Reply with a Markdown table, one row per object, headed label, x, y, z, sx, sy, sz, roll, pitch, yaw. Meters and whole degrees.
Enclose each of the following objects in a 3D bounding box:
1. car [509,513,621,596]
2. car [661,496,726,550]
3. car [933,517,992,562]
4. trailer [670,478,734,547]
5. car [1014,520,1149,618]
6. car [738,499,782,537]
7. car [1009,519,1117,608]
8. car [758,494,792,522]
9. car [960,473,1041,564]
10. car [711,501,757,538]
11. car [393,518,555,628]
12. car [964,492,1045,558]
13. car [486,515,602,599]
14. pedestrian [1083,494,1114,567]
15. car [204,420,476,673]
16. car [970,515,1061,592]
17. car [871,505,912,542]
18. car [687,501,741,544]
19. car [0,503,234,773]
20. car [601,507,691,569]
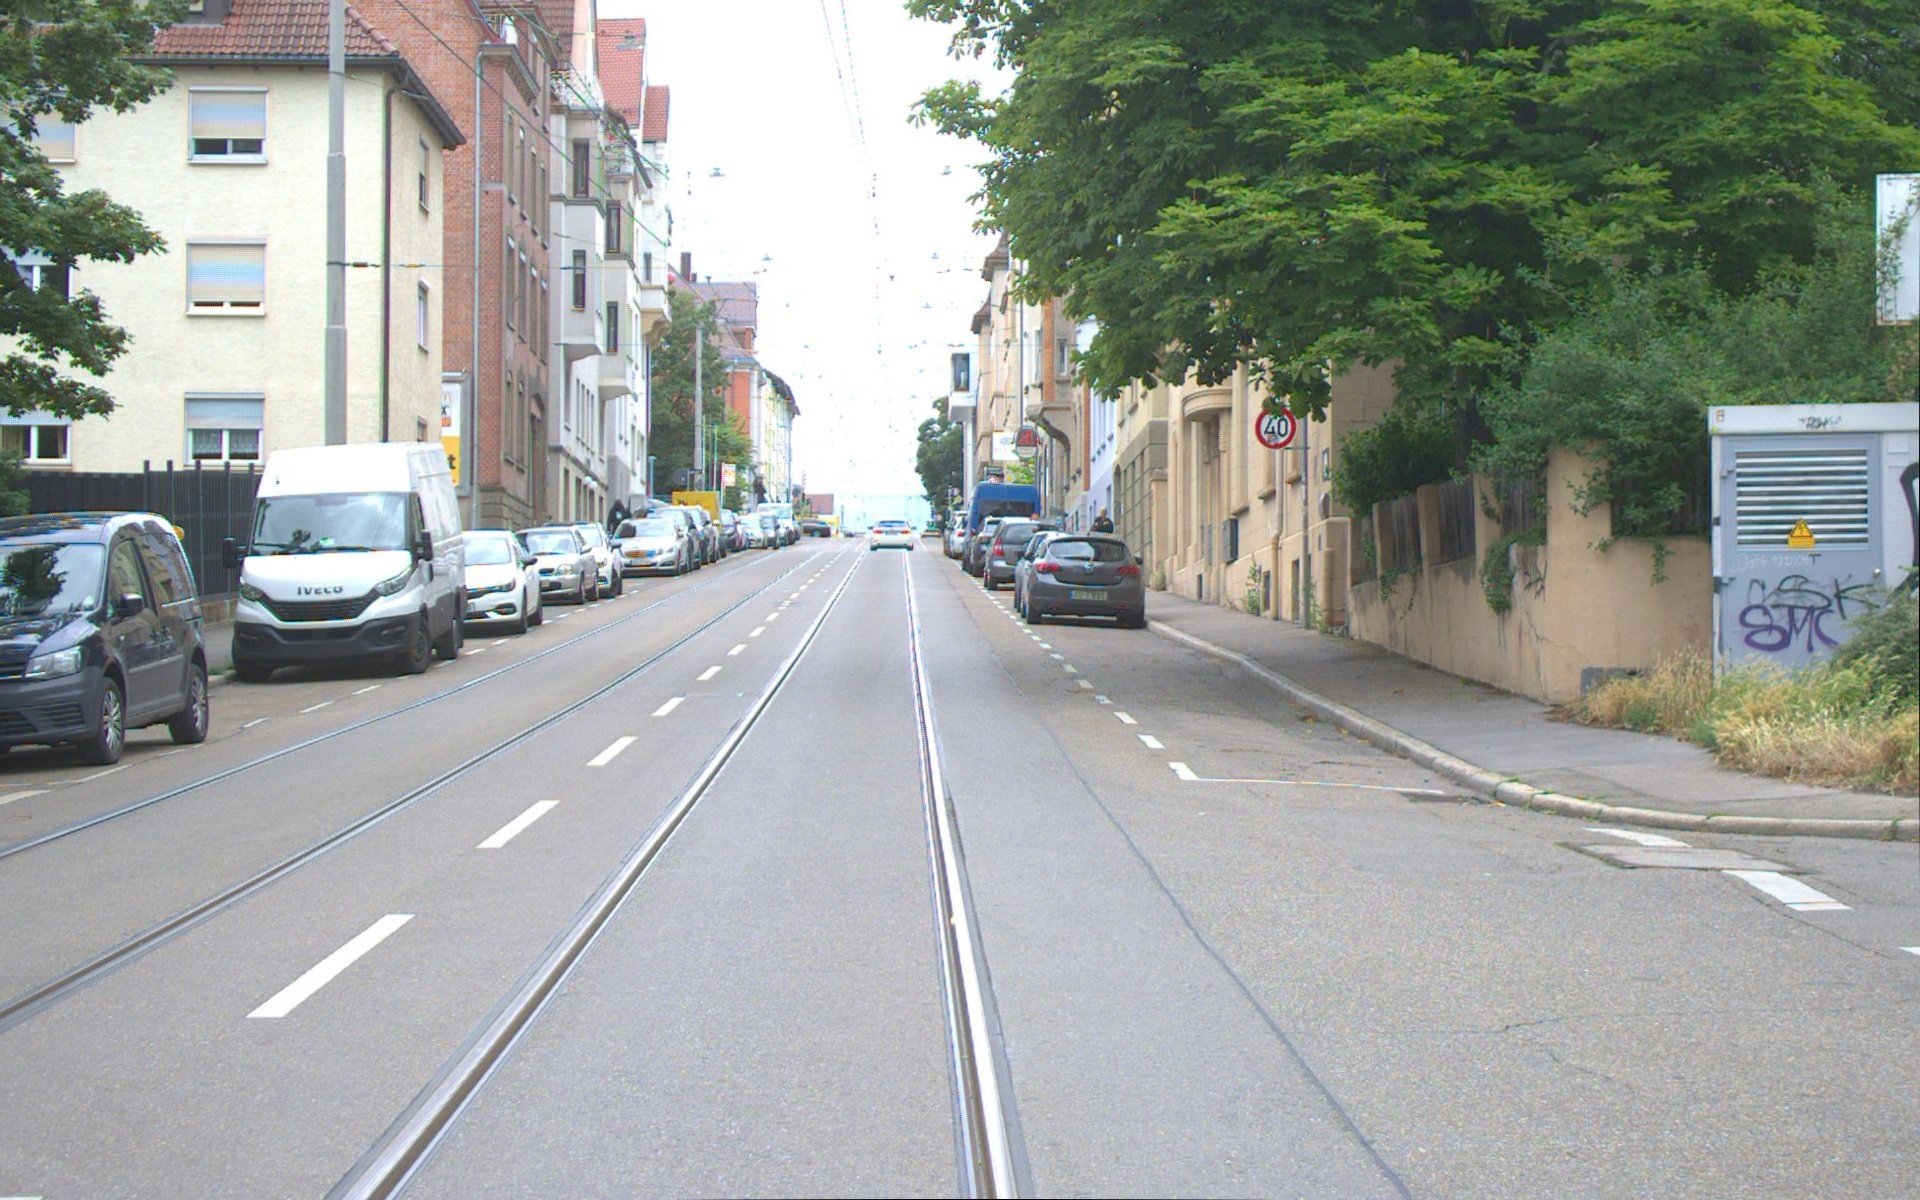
| label | x | y | z | sx | sy | sz | roll | pitch | yaw |
| --- | --- | --- | --- | --- | --- | --- | --- | --- | --- |
| car | -7.676 | -0.911 | 67.122 | 1.827 | 1.424 | 4.628 | -3 | 2 | -3 |
| car | -8.256 | -2.405 | 106.772 | 1.697 | 1.588 | 4.269 | -2 | 2 | 0 |
| car | 0.070 | -2.032 | 114.428 | 1.750 | 1.386 | 4.308 | 2 | 1 | -2 |
| trailer | -8.307 | -2.841 | 110.946 | 1.748 | 2.148 | 4.072 | -2 | 2 | 0 |
| car | 1.858 | -0.505 | 53.876 | 1.839 | 1.398 | 4.168 | 2 | 1 | -1 |
| car | -9.372 | -3.857 | 161.282 | 1.744 | 1.730 | 4.519 | -1 | 1 | 1 |
| car | 1.781 | -0.669 | 60.318 | 1.695 | 1.399 | 3.668 | 3 | 2 | 0 |
| car | -9.670 | -4.794 | 179.659 | 1.697 | 1.428 | 4.482 | -1 | 2 | -2 |
| car | 1.059 | -2.194 | 92.857 | 1.993 | 2.368 | 5.057 | 1 | 1 | -1 |
| car | -9.823 | -3.511 | 149.901 | 1.697 | 1.550 | 3.850 | 1 | 1 | 1 |
| car | -6.923 | -0.420 | 49.316 | 1.719 | 1.398 | 4.314 | -3 | 2 | -1 |
| car | 1.106 | -1.916 | 87.430 | 1.779 | 1.525 | 4.193 | 4 | 1 | -2 |
| car | -7.552 | -0.806 | 62.685 | 1.600 | 1.363 | 3.807 | -3 | 2 | 0 |
| pedestrian | 3.273 | -1.643 | 81.320 | 0.540 | 1.676 | 0.516 | -4 | -1 | -9 |
| car | -7.038 | -0.675 | 39.713 | 2.158 | 2.597 | 6.220 | -3 | 2 | -3 |
| car | 1.182 | -1.040 | 75.117 | 1.827 | 1.513 | 4.028 | 3 | 2 | 0 |
| car | -2.913 | -3.261 | 146.100 | 1.672 | 1.508 | 3.798 | 0 | 1 | -2 |
| car | -8.747 | -2.753 | 122.380 | 1.697 | 1.463 | 3.023 | -2 | 1 | 0 |
| car | -6.761 | 0.227 | 25.223 | 1.762 | 1.769 | 4.668 | -3 | 1 | 0 |
| car | -7.885 | -1.583 | 86.697 | 1.827 | 1.424 | 4.840 | -2 | 2 | 0 |
